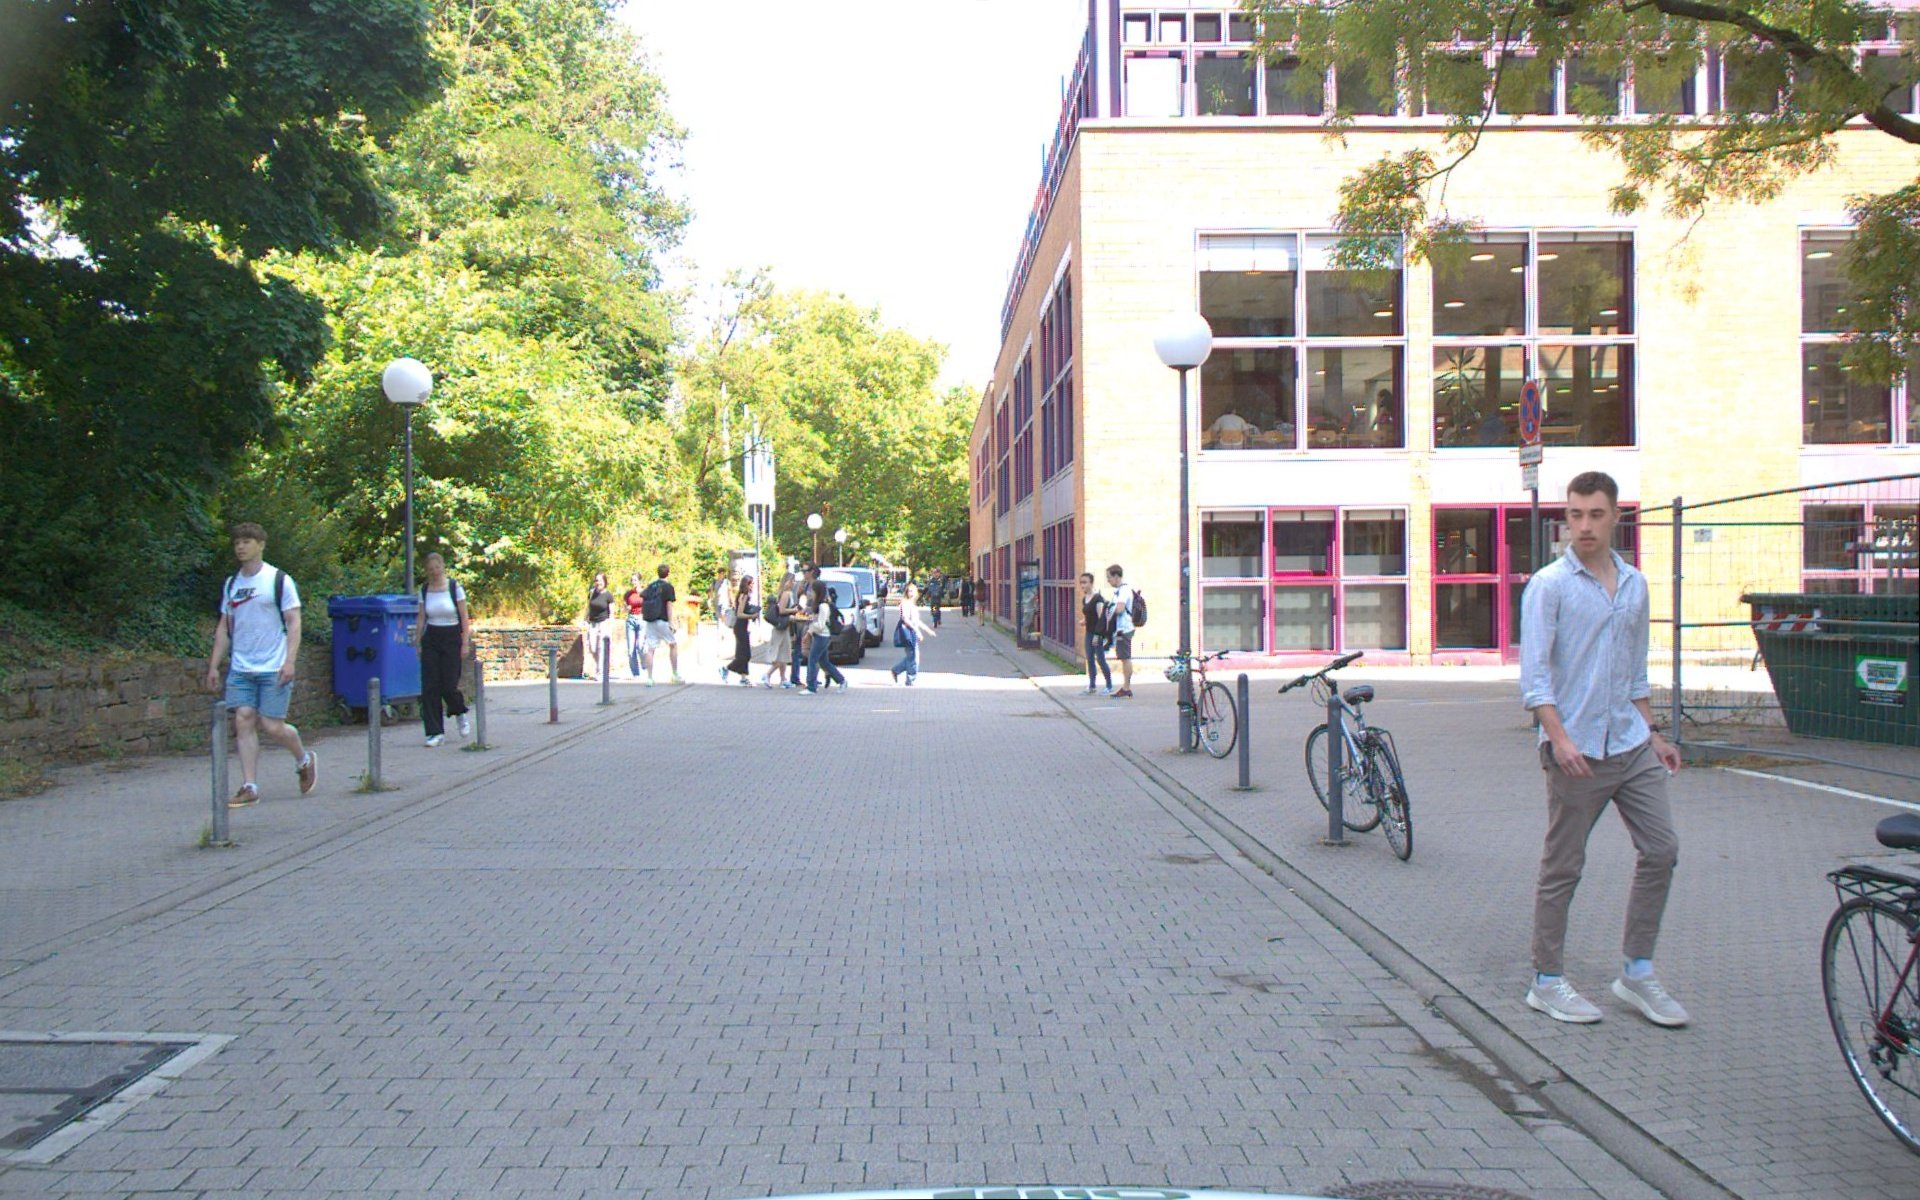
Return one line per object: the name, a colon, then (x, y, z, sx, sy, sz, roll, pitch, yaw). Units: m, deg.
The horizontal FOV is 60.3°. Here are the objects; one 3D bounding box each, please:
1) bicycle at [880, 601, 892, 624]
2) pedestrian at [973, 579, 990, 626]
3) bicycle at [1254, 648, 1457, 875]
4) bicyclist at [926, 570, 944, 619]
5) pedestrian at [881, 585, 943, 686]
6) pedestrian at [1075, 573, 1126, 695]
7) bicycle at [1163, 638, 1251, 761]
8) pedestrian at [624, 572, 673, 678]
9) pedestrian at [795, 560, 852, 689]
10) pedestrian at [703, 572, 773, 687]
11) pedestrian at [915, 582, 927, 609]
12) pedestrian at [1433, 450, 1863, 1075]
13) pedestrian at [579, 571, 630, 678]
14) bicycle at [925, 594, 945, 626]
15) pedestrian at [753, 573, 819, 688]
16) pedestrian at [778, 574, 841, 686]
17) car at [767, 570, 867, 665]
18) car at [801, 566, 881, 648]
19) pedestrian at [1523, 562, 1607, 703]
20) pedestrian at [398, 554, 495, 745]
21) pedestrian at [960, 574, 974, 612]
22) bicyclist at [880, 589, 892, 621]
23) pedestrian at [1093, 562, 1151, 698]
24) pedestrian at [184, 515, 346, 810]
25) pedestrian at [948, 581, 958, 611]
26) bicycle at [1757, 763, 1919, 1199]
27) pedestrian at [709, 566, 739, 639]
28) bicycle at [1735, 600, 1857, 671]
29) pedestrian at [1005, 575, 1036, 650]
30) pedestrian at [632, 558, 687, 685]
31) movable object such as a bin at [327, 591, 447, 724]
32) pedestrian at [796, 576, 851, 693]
bicycle: (-3.667, 0.618, 81.893, 0.575, 1.102, 1.812, 0, 0, -5)
pedestrian: (0.796, 0.085, 60.822, 0.574, 1.702, 0.699, -1, -1, 0)
bicycle: (2.211, 0.863, 9.467, 0.694, 1.112, 1.748, 0, 0, -2)
bicyclist: (-0.888, -0.199, 58.566, 0.575, 1.746, 0.665, 0, 0, -5)
pedestrian: (-0.761, 0.559, 26.297, 0.867, 1.569, 0.743, -1, 0, 6)
pedestrian: (2.009, 0.487, 23.603, 0.682, 1.702, 0.588, -1, -1, 6)
bicycle: (2.223, 0.875, 15.057, 0.441, 0.978, 1.739, -3, 0, -2)
pedestrian: (-4.919, 0.390, 26.153, 0.669, 1.649, 0.912, 1, -1, -6)
pedestrian: (-2.017, 0.359, 24.479, 0.809, 1.876, 0.684, 1, -1, -4)
pedestrian: (-3.373, 0.442, 25.188, 0.867, 1.701, 0.644, -2, 1, 6)
pedestrian: (-2.488, -0.269, 105.079, 0.710, 1.702, 0.748, -1, -1, 0)
pedestrian: (2.304, 0.486, 5.641, 0.773, 1.877, 1.109, 1, 0, -26)
pedestrian: (-5.593, 0.386, 26.038, 0.669, 1.649, 0.977, 1, -1, -6)
bicycle: (-0.886, 0.349, 58.555, 0.575, 1.102, 1.906, 0, 0, -5)
pedestrian: (-2.600, 0.453, 24.720, 0.867, 1.702, 0.559, 0, -1, 6)
pedestrian: (-2.325, 0.458, 25.541, 0.912, 1.702, 0.587, -1, -1, -10)
car: (-2.853, 0.317, 33.767, 1.754, 1.792, 4.480, 0, 1, -2)
car: (-3.027, 0.145, 42.930, 1.845, 2.008, 5.213, 0, 1, -2)
pedestrian: (7.338, 0.389, 20.070, 0.834, 1.680, 0.588, 0, -1, 6)
pedestrian: (-4.867, 0.454, 15.718, 0.669, 1.758, 1.001, 0, 0, -5)
pedestrian: (0.328, -0.315, 74.645, 0.574, 1.702, 0.817, -1, -1, 0)
bicyclist: (-3.668, 0.243, 81.860, 0.575, 1.600, 0.828, 0, 0, -5)
pedestrian: (2.236, 0.411, 22.799, 0.750, 1.826, 0.588, -1, -1, 6)
pedestrian: (-4.740, 0.413, 11.346, 0.710, 1.914, 1.081, 1, -1, -6)
pedestrian: (-0.446, -0.258, 107.926, 0.640, 1.956, 0.817, -1, -1, 0)
bicycle: (2.459, 0.945, 3.748, 0.387, 0.952, 1.731, -2, 0, -2)
pedestrian: (-6.141, 0.075, 43.020, 0.668, 1.876, 0.783, 0, -1, -2)
bicycle: (13.834, 0.584, 27.383, 1.773, 1.129, 0.523, 1, 0, -3)
pedestrian: (1.450, 0.297, 39.603, 0.668, 1.778, 0.783, 0, -1, -2)
pedestrian: (-4.505, 0.319, 24.829, 0.668, 1.876, 0.783, 0, -1, -2)
movable object such as a bin: (-6.208, 0.601, 17.983, 0.694, 1.359, 1.240, 2, 0, 8)
pedestrian: (-1.954, 0.496, 23.789, 0.765, 1.649, 0.684, 1, -1, -4)
